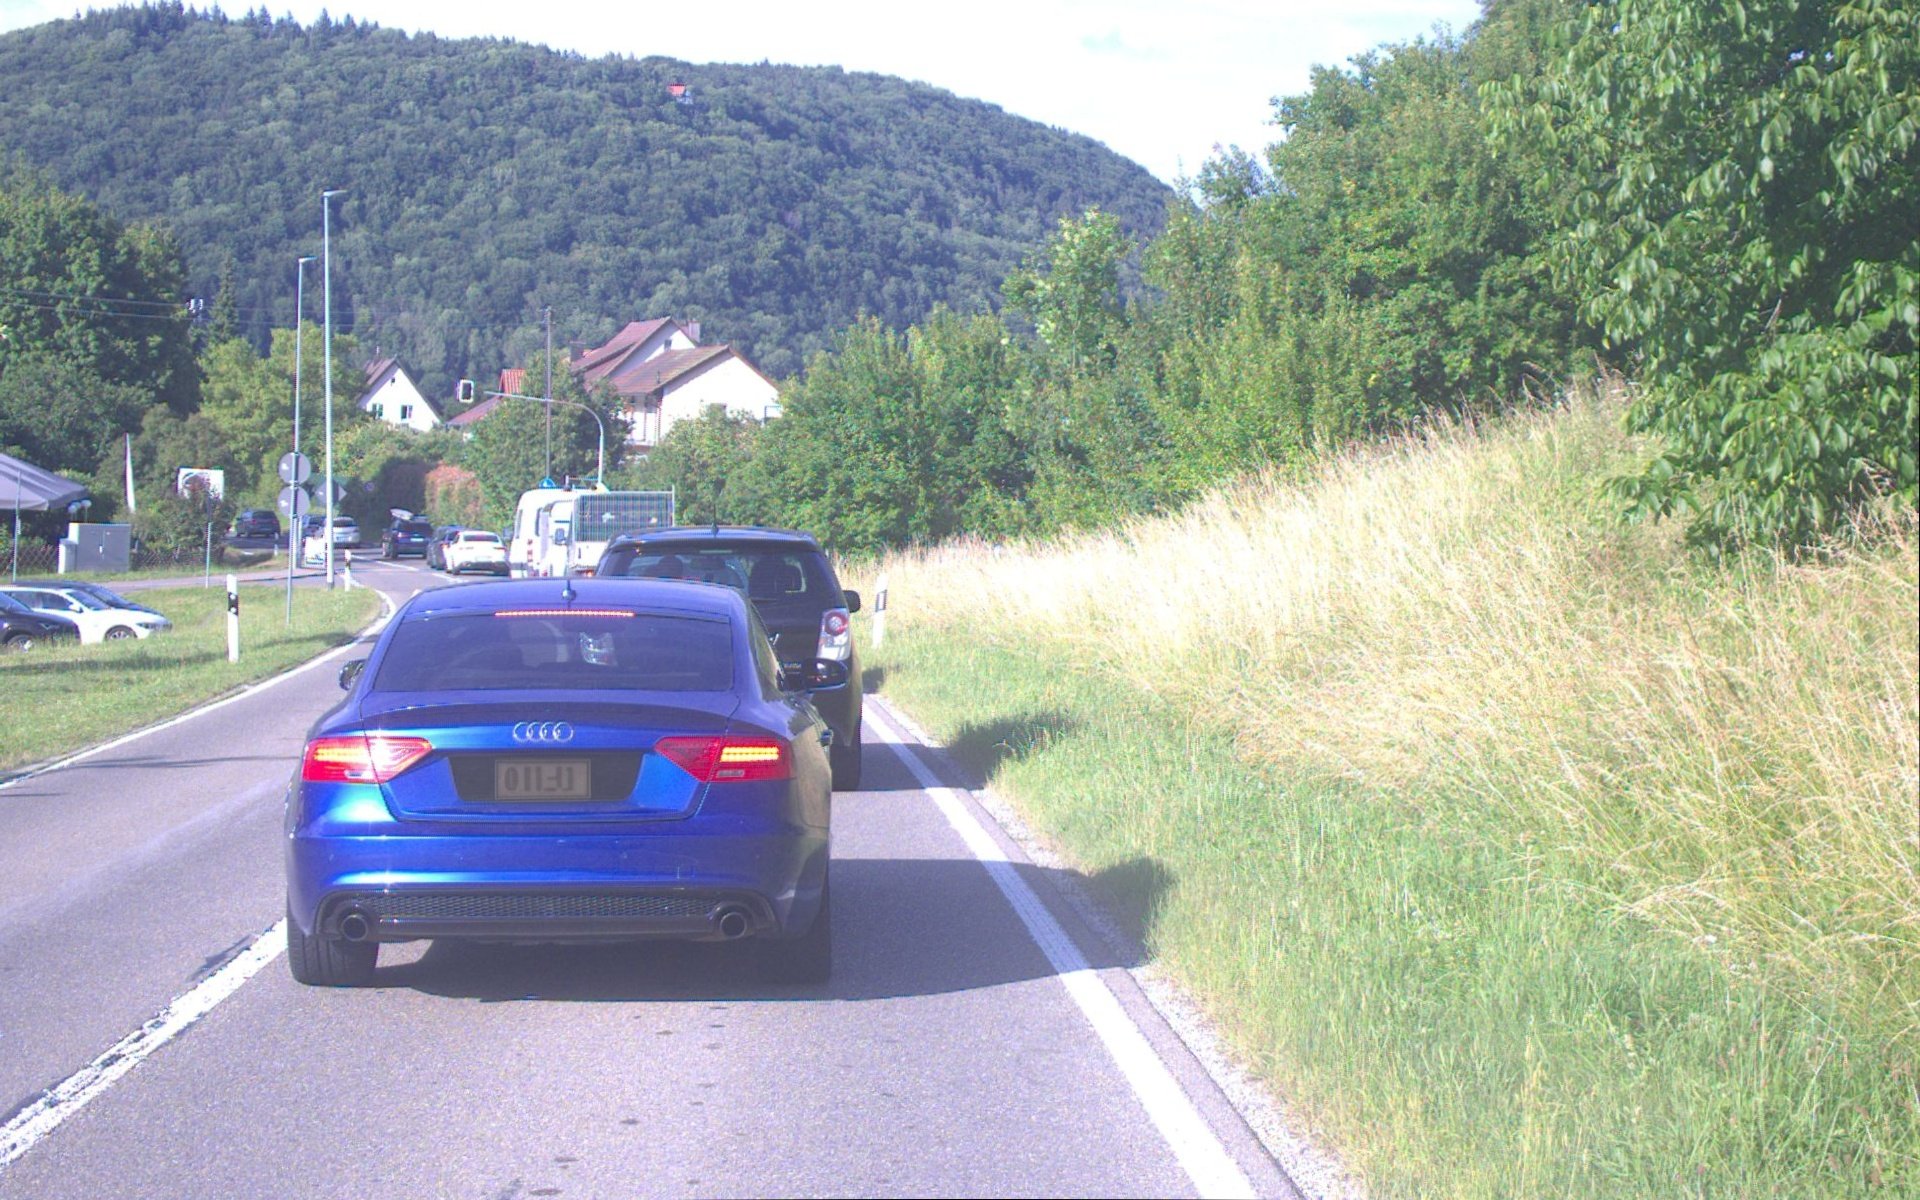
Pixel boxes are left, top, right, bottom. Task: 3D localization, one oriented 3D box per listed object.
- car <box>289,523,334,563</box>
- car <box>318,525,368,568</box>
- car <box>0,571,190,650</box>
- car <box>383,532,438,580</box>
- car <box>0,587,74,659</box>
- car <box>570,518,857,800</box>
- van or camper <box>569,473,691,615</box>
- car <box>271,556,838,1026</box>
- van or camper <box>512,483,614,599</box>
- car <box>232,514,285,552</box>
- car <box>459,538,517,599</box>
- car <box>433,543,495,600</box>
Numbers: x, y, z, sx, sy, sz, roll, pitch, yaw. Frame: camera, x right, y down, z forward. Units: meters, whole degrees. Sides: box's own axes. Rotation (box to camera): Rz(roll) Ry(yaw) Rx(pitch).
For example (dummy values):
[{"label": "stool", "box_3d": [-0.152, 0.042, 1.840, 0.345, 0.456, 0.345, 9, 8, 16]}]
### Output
[{"label": "car", "box_3d": [-31.471, -2.755, 166.777, 1.676, 1.918, 4.001, -1, 1, -18]}, {"label": "car", "box_3d": [-28.429, -2.458, 158.371, 1.676, 1.918, 4.001, -1, 1, -19]}, {"label": "car", "box_3d": [-19.264, 0.221, 75.979, 4.036, 1.655, 1.655, -1, 1, 7]}, {"label": "car", "box_3d": [-22.520, -1.808, 140.739, 1.676, 1.918, 4.001, -1, 1, -17]}, {"label": "car", "box_3d": [-20.542, 0.498, 71.655, 3.713, 1.434, 1.509, -1, 1, 7]}, {"label": "car", "box_3d": [-1.605, 0.325, 21.930, 1.645, 1.619, 3.517, 1, 1, -5]}, {"label": "van or camper", "box_3d": [-6.167, -1.025, 63.715, 2.051, 2.497, 5.813, -1, 1, -7]}, {"label": "car", "box_3d": [-1.327, 0.566, 12.359, 1.742, 1.445, 3.517, 0, 1, -3]}, {"label": "van or camper", "box_3d": [-9.642, -1.412, 83.211, 2.280, 2.704, 5.768, -1, 1, -8]}, {"label": "car", "box_3d": [-36.783, -3.502, 180.246, 1.954, 1.918, 4.001, -1, 1, -22]}, {"label": "car", "box_3d": [-15.438, -1.030, 112.297, 1.659, 1.918, 4.001, -1, 1, -10]}, {"label": "car", "box_3d": [-17.288, -1.000, 119.693, 1.659, 1.918, 4.001, -1, 1, -15]}]
